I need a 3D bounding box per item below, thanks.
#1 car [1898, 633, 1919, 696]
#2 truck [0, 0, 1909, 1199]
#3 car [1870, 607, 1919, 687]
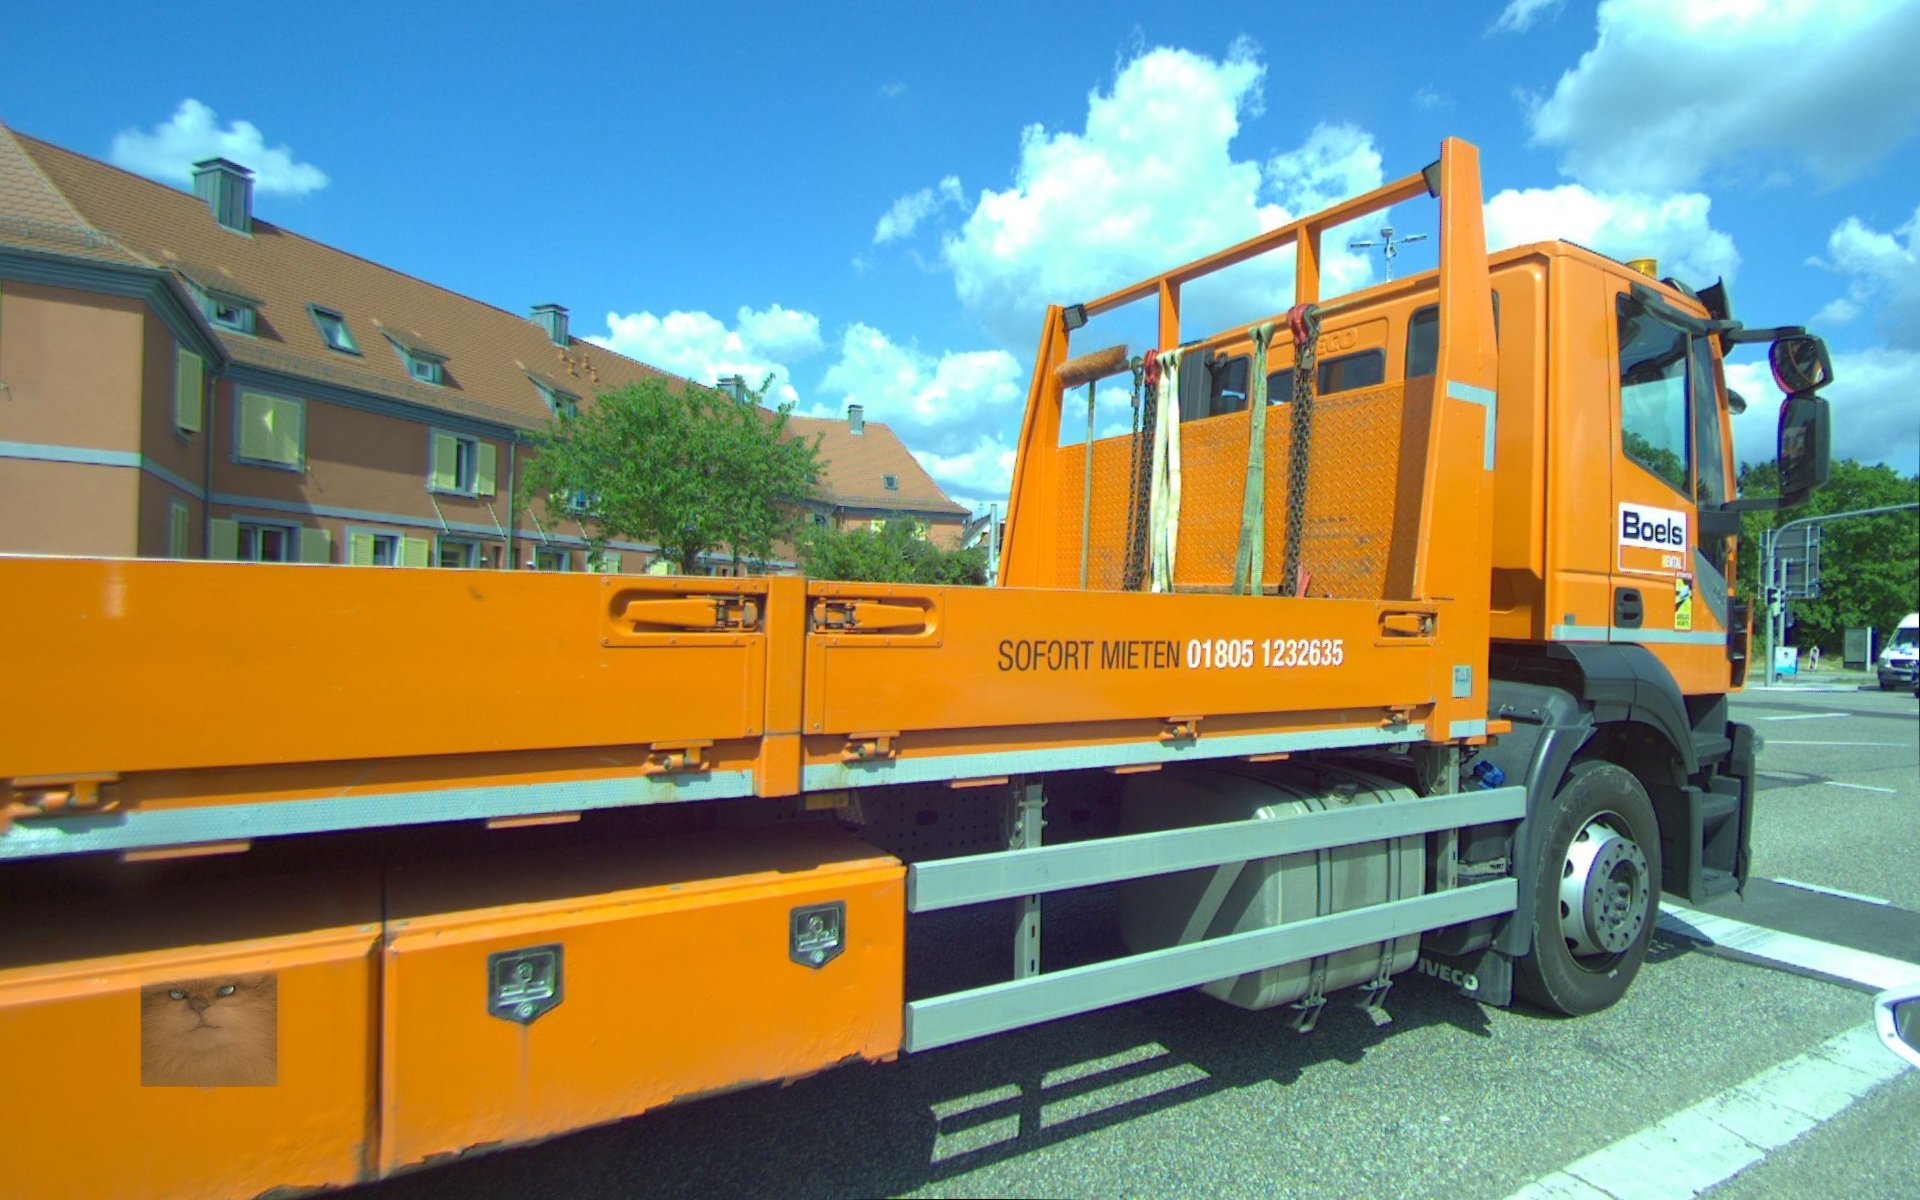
[{"bbox_3d":[26.346,1.741,25.892,4.252,1.564,1.729,3,1,-26],"label":"car"},{"bbox_3d":[-1.679,-0.429,2.685,10.939,3.459,3.056,3,1,-30],"label":"truck"},{"bbox_3d":[33.379,1.653,33.683,5.889,2.504,2.166,3,1,-26],"label":"car"}]
